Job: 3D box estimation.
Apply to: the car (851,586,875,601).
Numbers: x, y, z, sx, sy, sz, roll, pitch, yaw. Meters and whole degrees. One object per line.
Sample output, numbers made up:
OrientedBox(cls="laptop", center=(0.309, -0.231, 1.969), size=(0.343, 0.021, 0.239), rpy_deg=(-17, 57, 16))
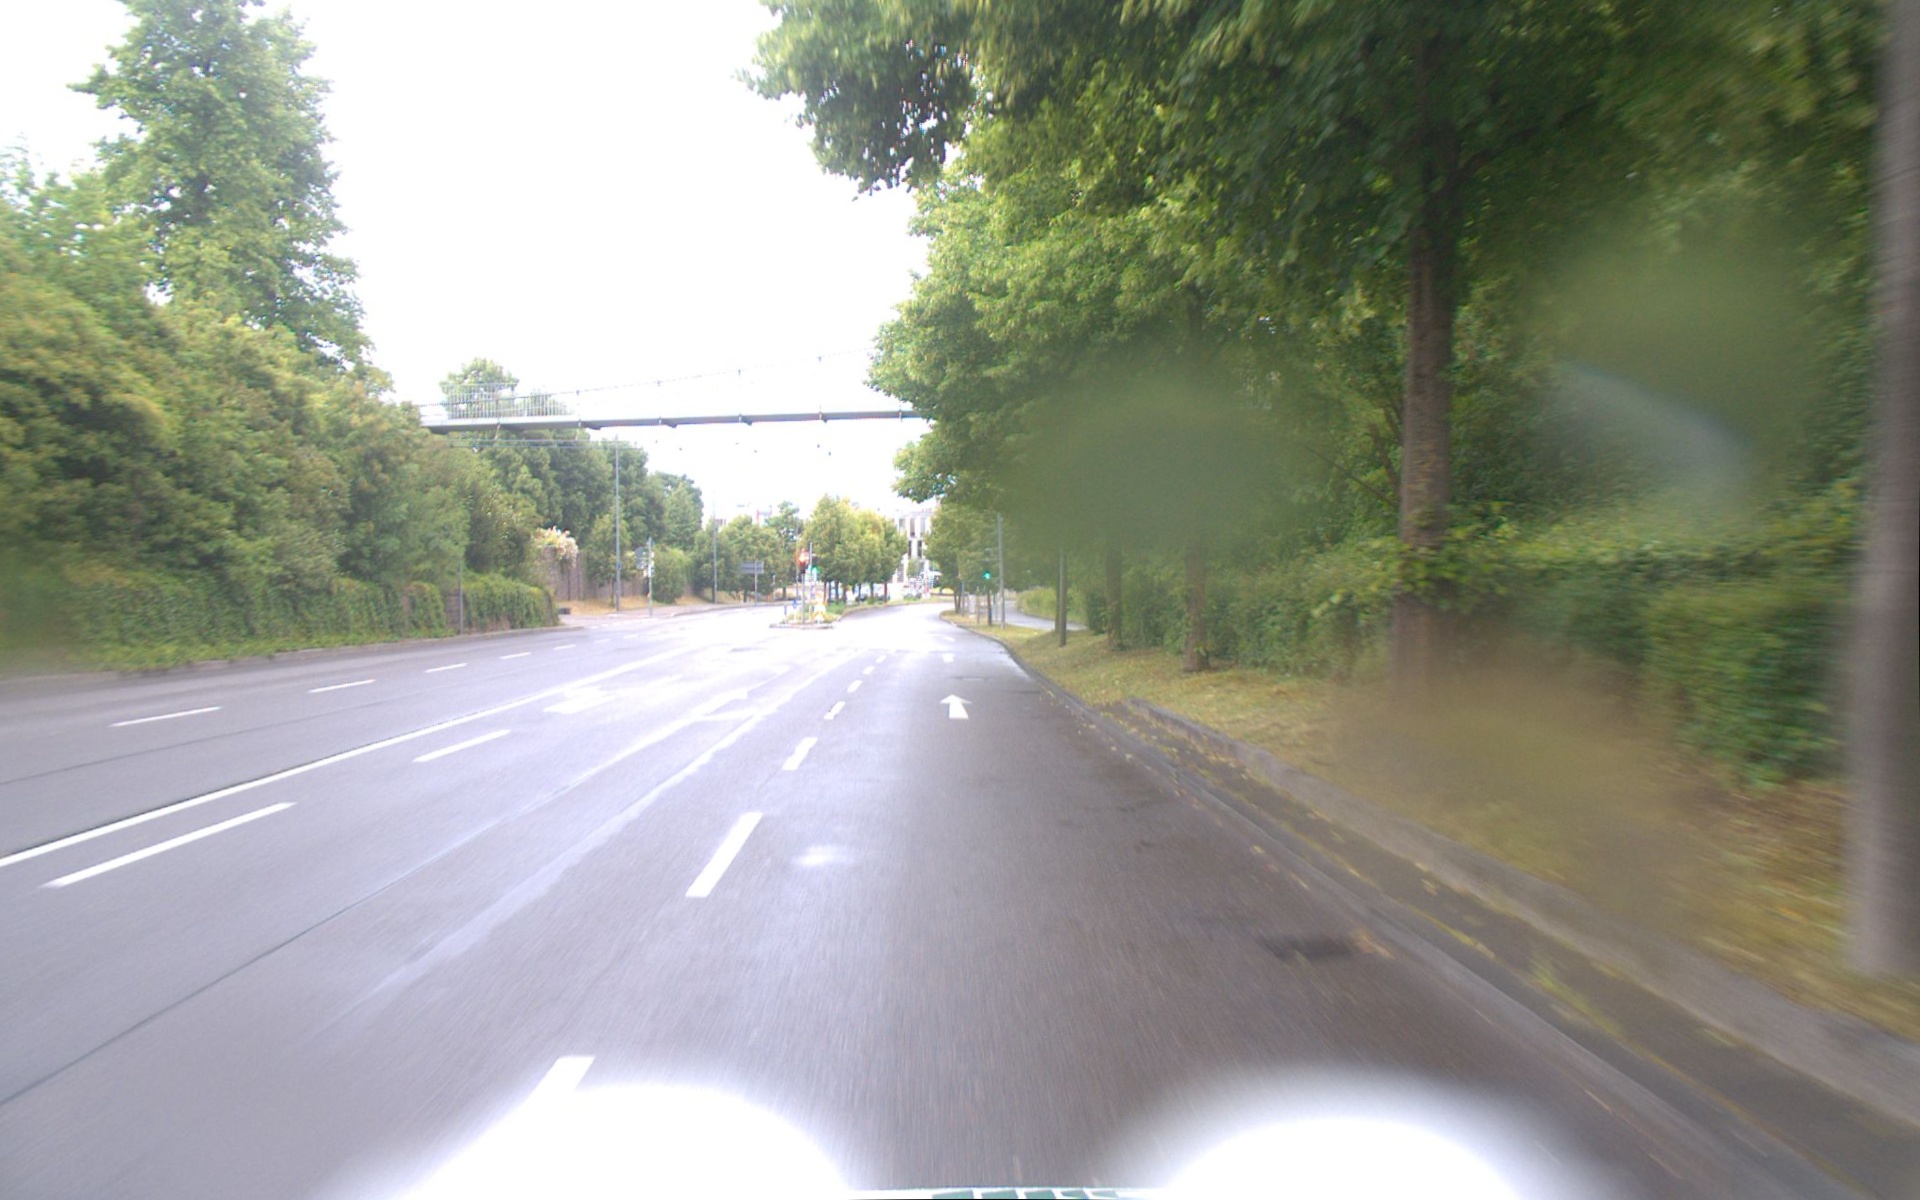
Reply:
OrientedBox(cls="car", center=(-10.991, -0.718, 187.494), size=(1.841, 1.623, 4.770), rpy_deg=(2, 0, 7))

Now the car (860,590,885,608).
OrientedBox(cls="car", center=(-9.535, -0.149, 180.577), size=(1.971, 1.952, 5.099), rpy_deg=(1, 0, 7))

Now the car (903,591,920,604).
OrientedBox(cls="car", center=(-6.149, -0.373, 209.427), size=(1.650, 1.566, 2.919), rpy_deg=(1, 1, 8))
